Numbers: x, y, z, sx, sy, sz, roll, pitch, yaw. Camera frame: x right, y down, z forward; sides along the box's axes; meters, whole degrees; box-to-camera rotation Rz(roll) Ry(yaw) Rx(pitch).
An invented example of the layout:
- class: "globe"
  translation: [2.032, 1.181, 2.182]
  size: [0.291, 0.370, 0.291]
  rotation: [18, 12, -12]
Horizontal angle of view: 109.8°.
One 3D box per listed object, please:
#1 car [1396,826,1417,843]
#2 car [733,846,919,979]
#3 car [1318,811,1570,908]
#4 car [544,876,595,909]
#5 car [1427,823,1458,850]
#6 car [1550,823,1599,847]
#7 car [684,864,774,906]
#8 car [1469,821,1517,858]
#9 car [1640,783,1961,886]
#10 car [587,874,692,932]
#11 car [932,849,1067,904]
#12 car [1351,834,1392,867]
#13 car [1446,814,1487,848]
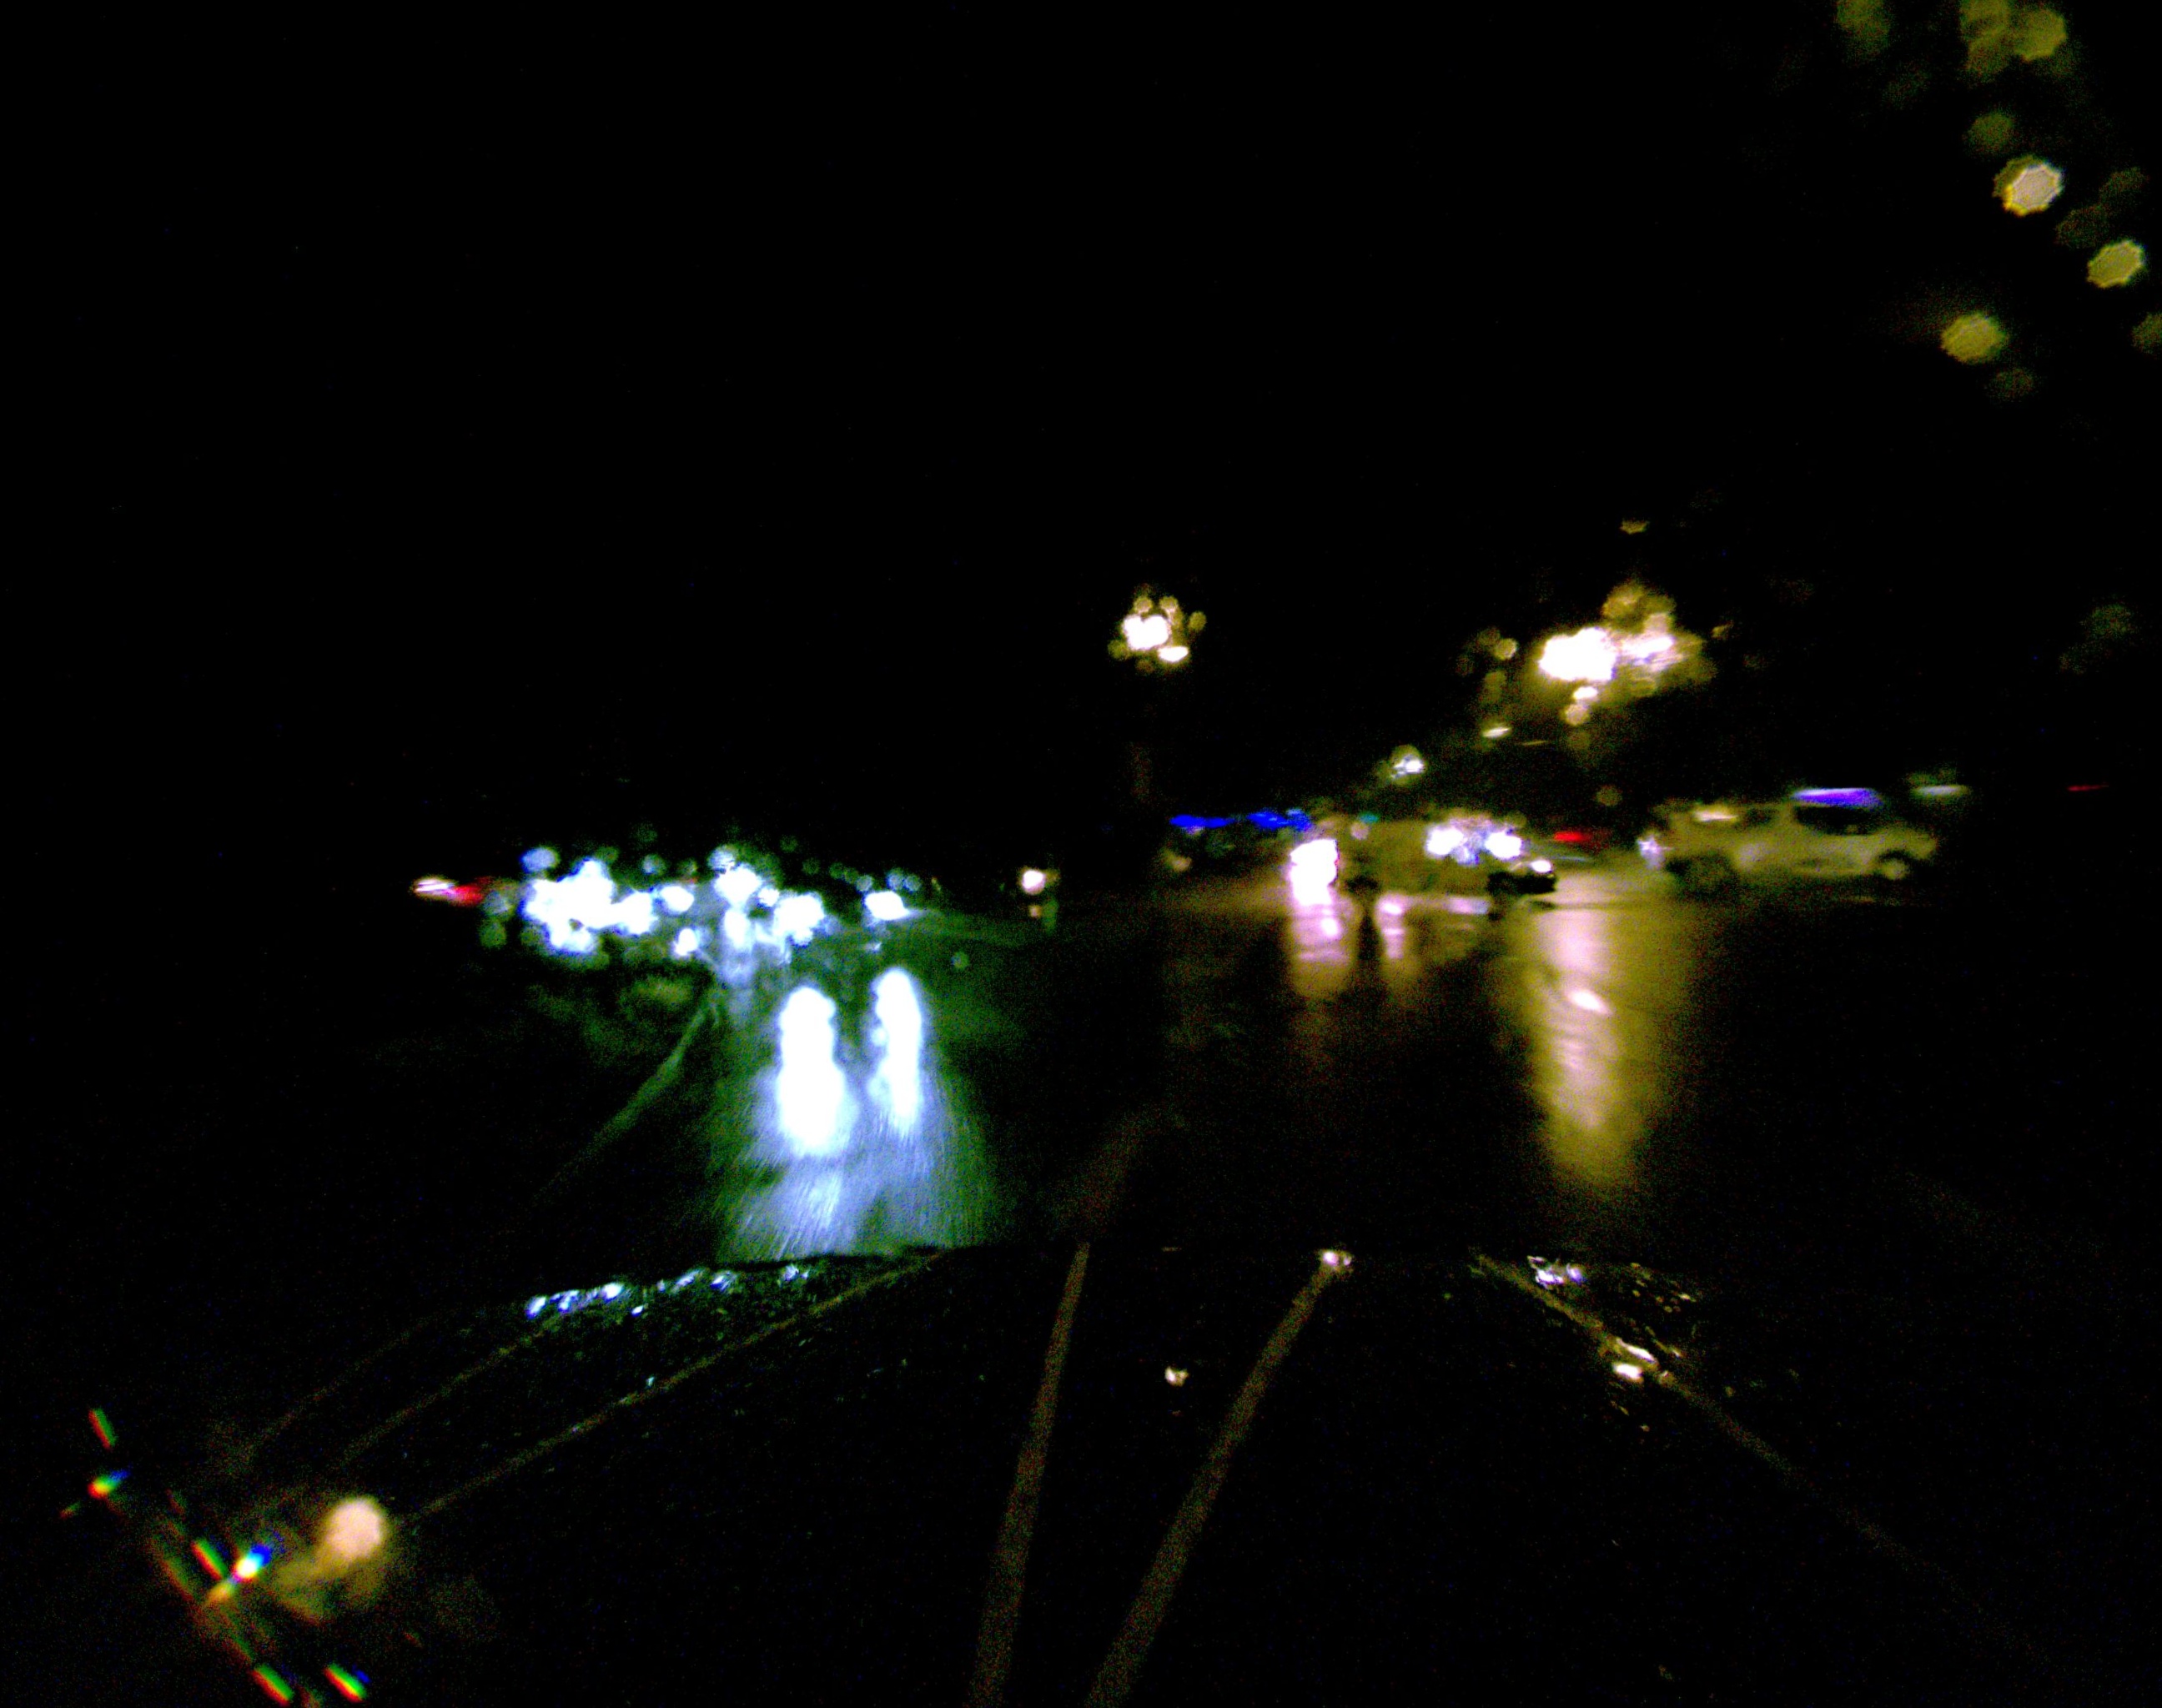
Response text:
- class: "car"
  translation: [36.239, -2.195, 84.663]
  size: [1.843, 1.683, 4.003]
  rotation: [-5, 2, 20]
- class: "car"
  translation: [-4.803, 0.899, 13.886]
  size: [2.007, 1.915, 4.358]
  rotation: [-5, 2, -34]
- class: "car"
  translation: [7.574, 0.128, 16.170]
  size: [4.547, 1.821, 1.785]
  rotation: [-2, 3, 25]
- class: "car"
  translation: [-26.147, 1.972, 38.766]
  size: [1.684, 1.437, 4.165]
  rotation: [-5, 1, -39]
- class: "car"
  translation: [28.427, -1.428, 59.797]
  size: [1.709, 1.927, 3.613]
  rotation: [-2, 3, 18]
- class: "car"
  translation: [35.265, -1.376, 54.388]
  size: [1.833, 1.466, 4.040]
  rotation: [-4, 3, 16]
- class: "car"
  translation: [-16.018, 1.408, 34.516]
  size: [4.118, 1.696, 1.852]
  rotation: [-3, 1, 36]
- class: "car"
  translation: [23.431, -0.849, 43.301]
  size: [1.664, 1.844, 4.150]
  rotation: [-3, 3, 19]
- class: "car"
  translation: [15.584, -0.386, 16.864]
  size: [4.711, 1.783, 2.002]
  rotation: [-4, 1, 23]
- class: "car"
  translation: [-14.016, 1.539, 24.033]
  size: [3.977, 1.524, 1.691]
  rotation: [-4, 3, 43]
- class: "car"
  translation: [-2.754, 0.790, 25.266]
  size: [4.227, 1.585, 1.793]
  rotation: [-4, -4, 33]
- class: "car"
  translation: [16.797, -0.245, 44.079]
  size: [1.955, 1.624, 4.263]
  rotation: [-3, 3, 19]
- class: "car"
  translation: [25.822, -1.587, 50.979]
  size: [1.790, 2.013, 4.150]
  rotation: [-3, 3, 19]
